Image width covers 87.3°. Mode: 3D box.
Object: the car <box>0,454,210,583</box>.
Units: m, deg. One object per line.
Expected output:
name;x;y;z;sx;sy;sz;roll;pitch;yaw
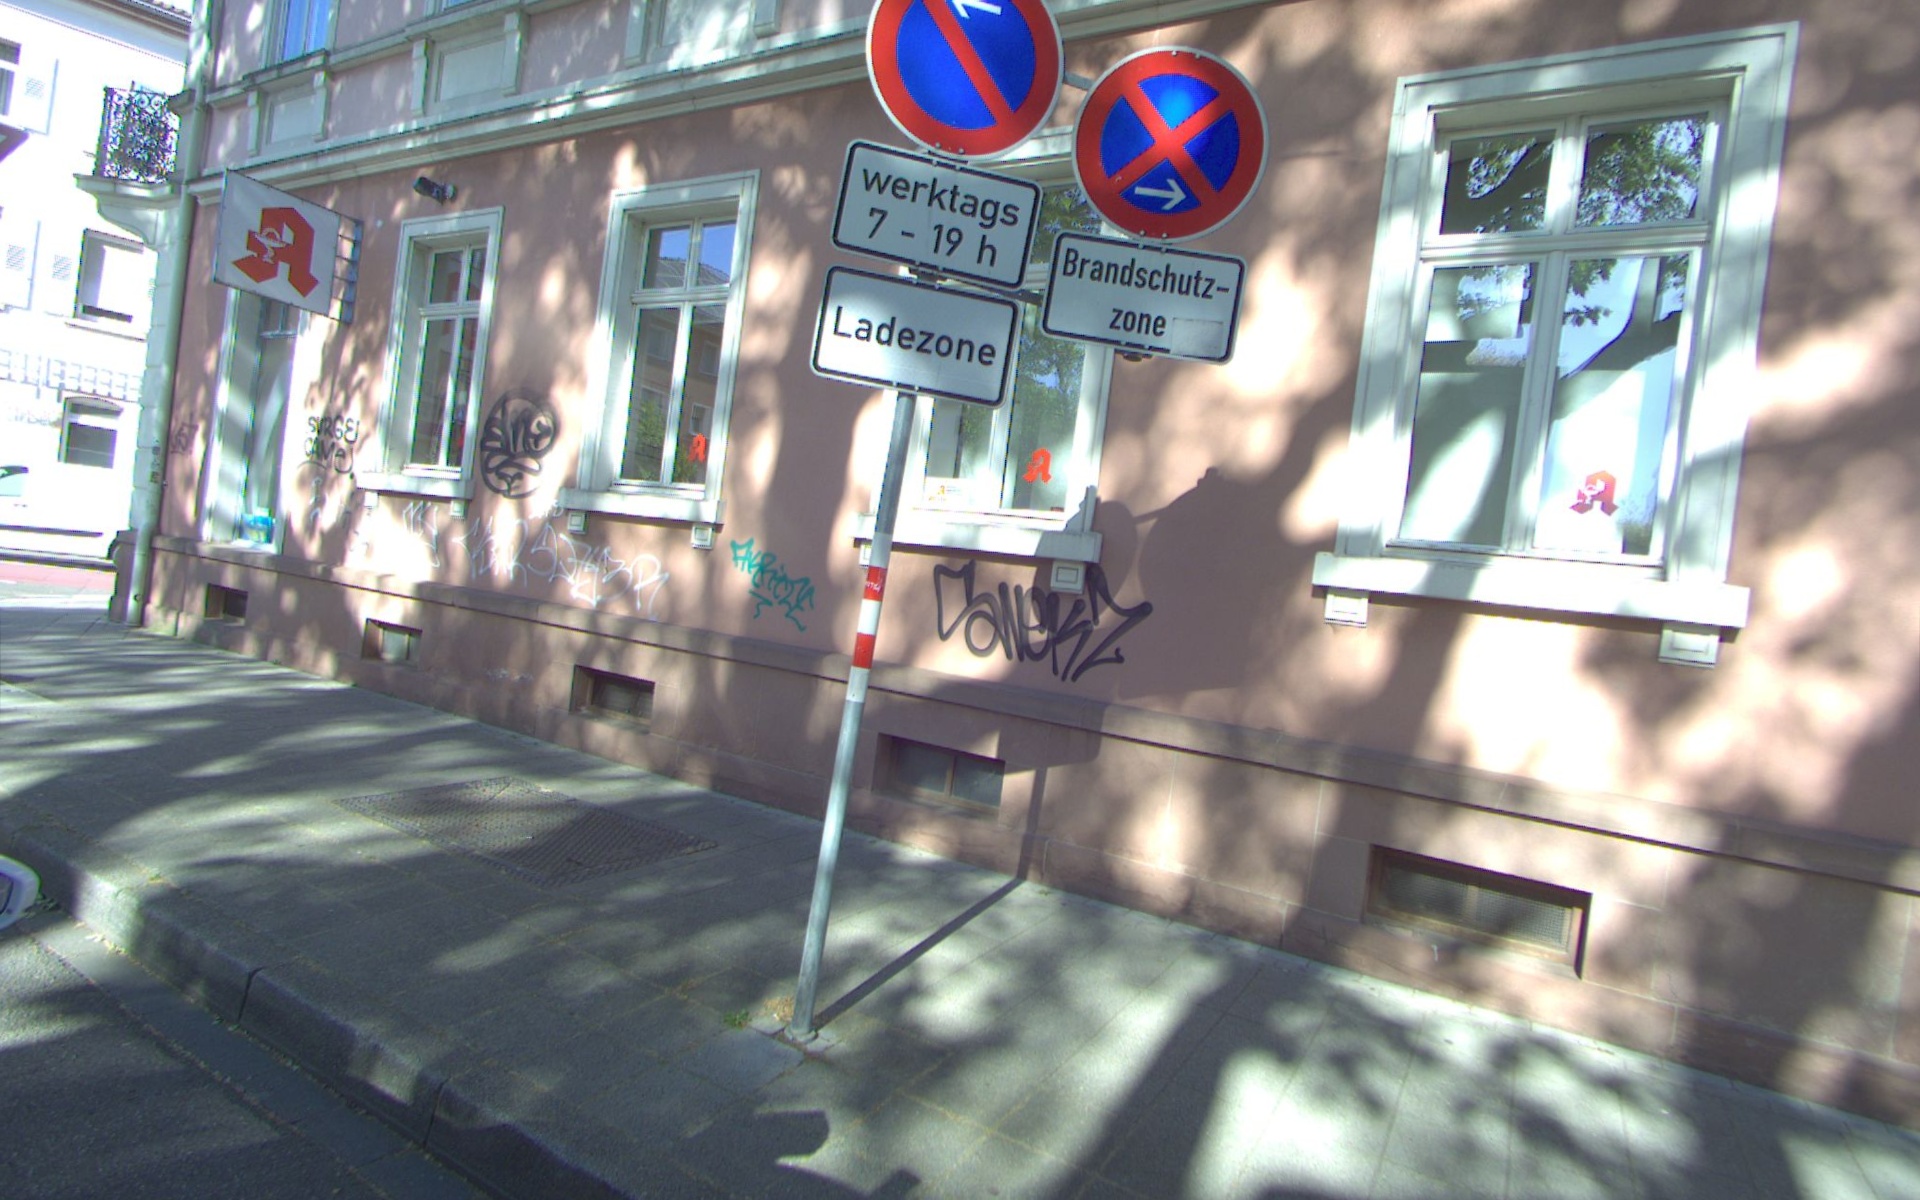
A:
car;-17.510;-1.614;19.202;4.862;1.950;1.982;8;-3;-35
